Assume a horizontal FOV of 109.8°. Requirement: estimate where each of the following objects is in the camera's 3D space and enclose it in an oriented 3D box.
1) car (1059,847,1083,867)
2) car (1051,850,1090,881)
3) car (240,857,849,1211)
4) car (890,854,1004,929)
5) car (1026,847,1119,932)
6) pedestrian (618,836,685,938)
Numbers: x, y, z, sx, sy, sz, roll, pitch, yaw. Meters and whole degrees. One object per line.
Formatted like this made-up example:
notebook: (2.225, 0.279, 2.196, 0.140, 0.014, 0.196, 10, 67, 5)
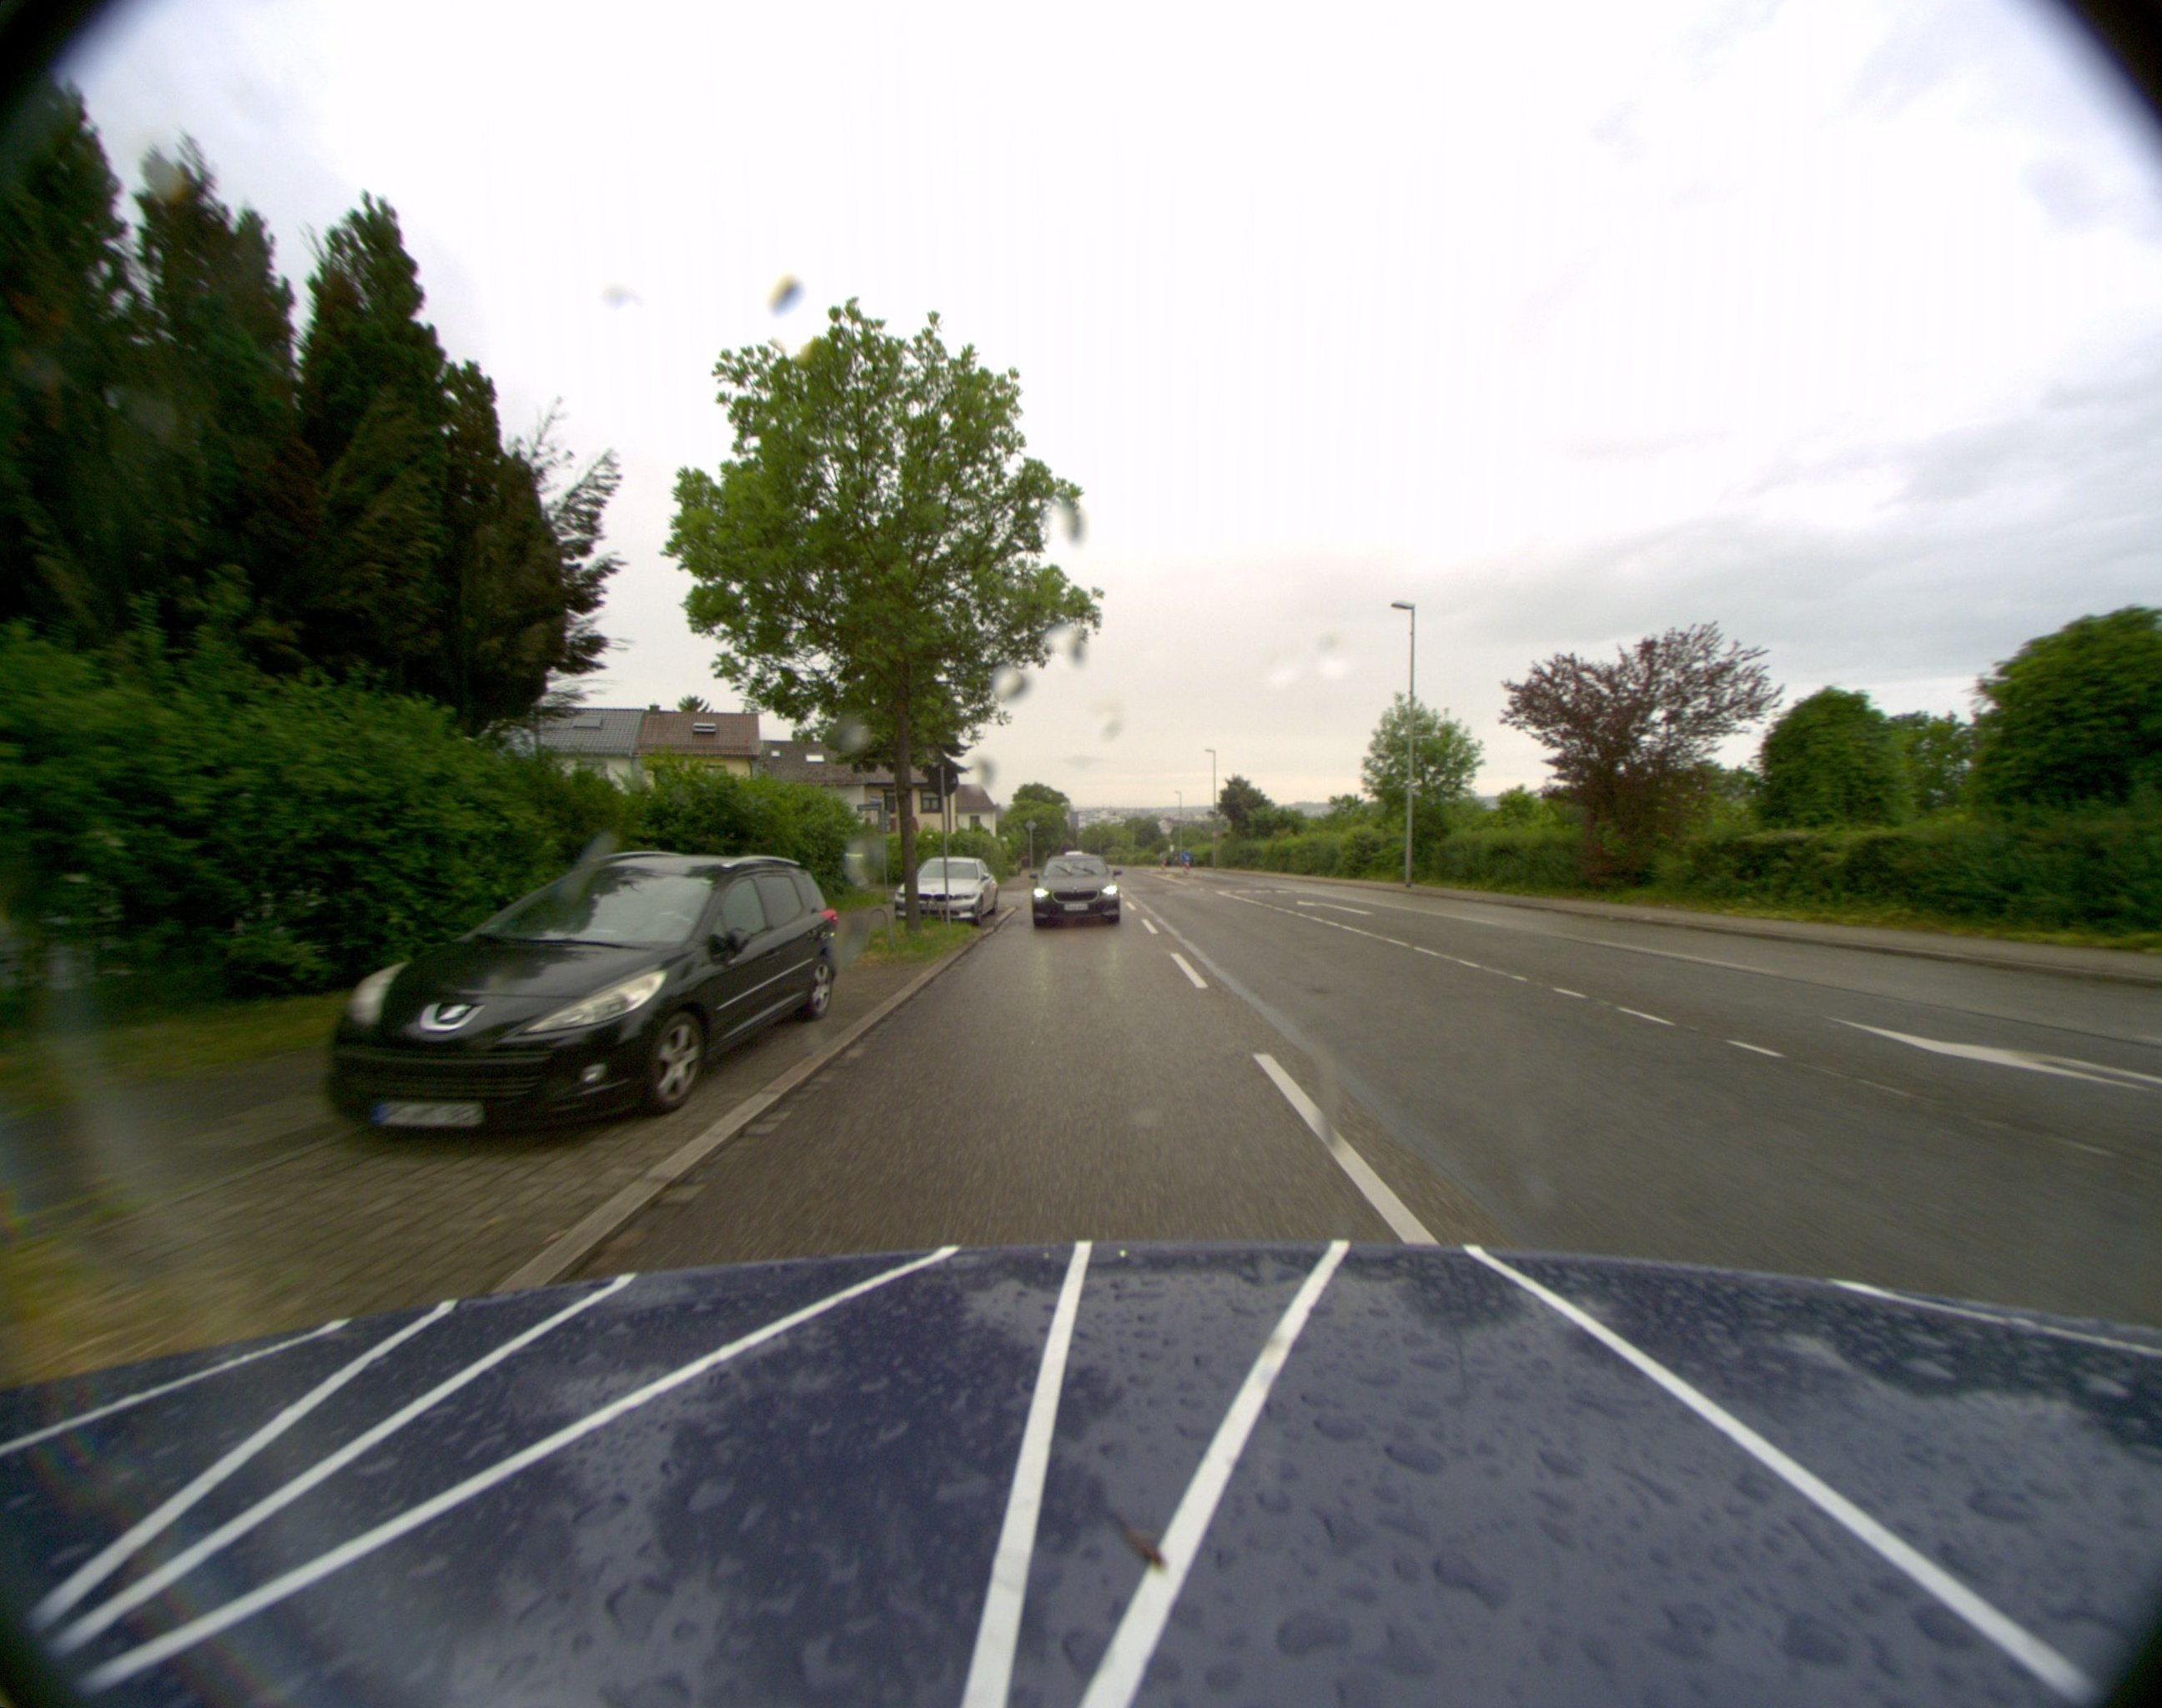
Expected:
car: (-0.947, 0.264, 67.681, 1.999, 1.674, 4.172, -1, 1, -3)
car: (-0.666, 0.603, 44.006, 1.999, 1.674, 4.171, -1, 1, -4)
car: (-3.192, 0.877, 5.653, 1.646, 1.586, 4.013, 3, 1, 0)
car: (-3.008, 0.771, 17.991, 1.803, 1.513, 4.591, 1, 0, 1)
car: (-0.108, 0.709, 17.701, 1.828, 1.668, 4.296, -3, 1, 2)
pedestrian: (-7.224, 0.541, 12.801, 0.709, 1.670, 0.654, 1, 1, 8)
